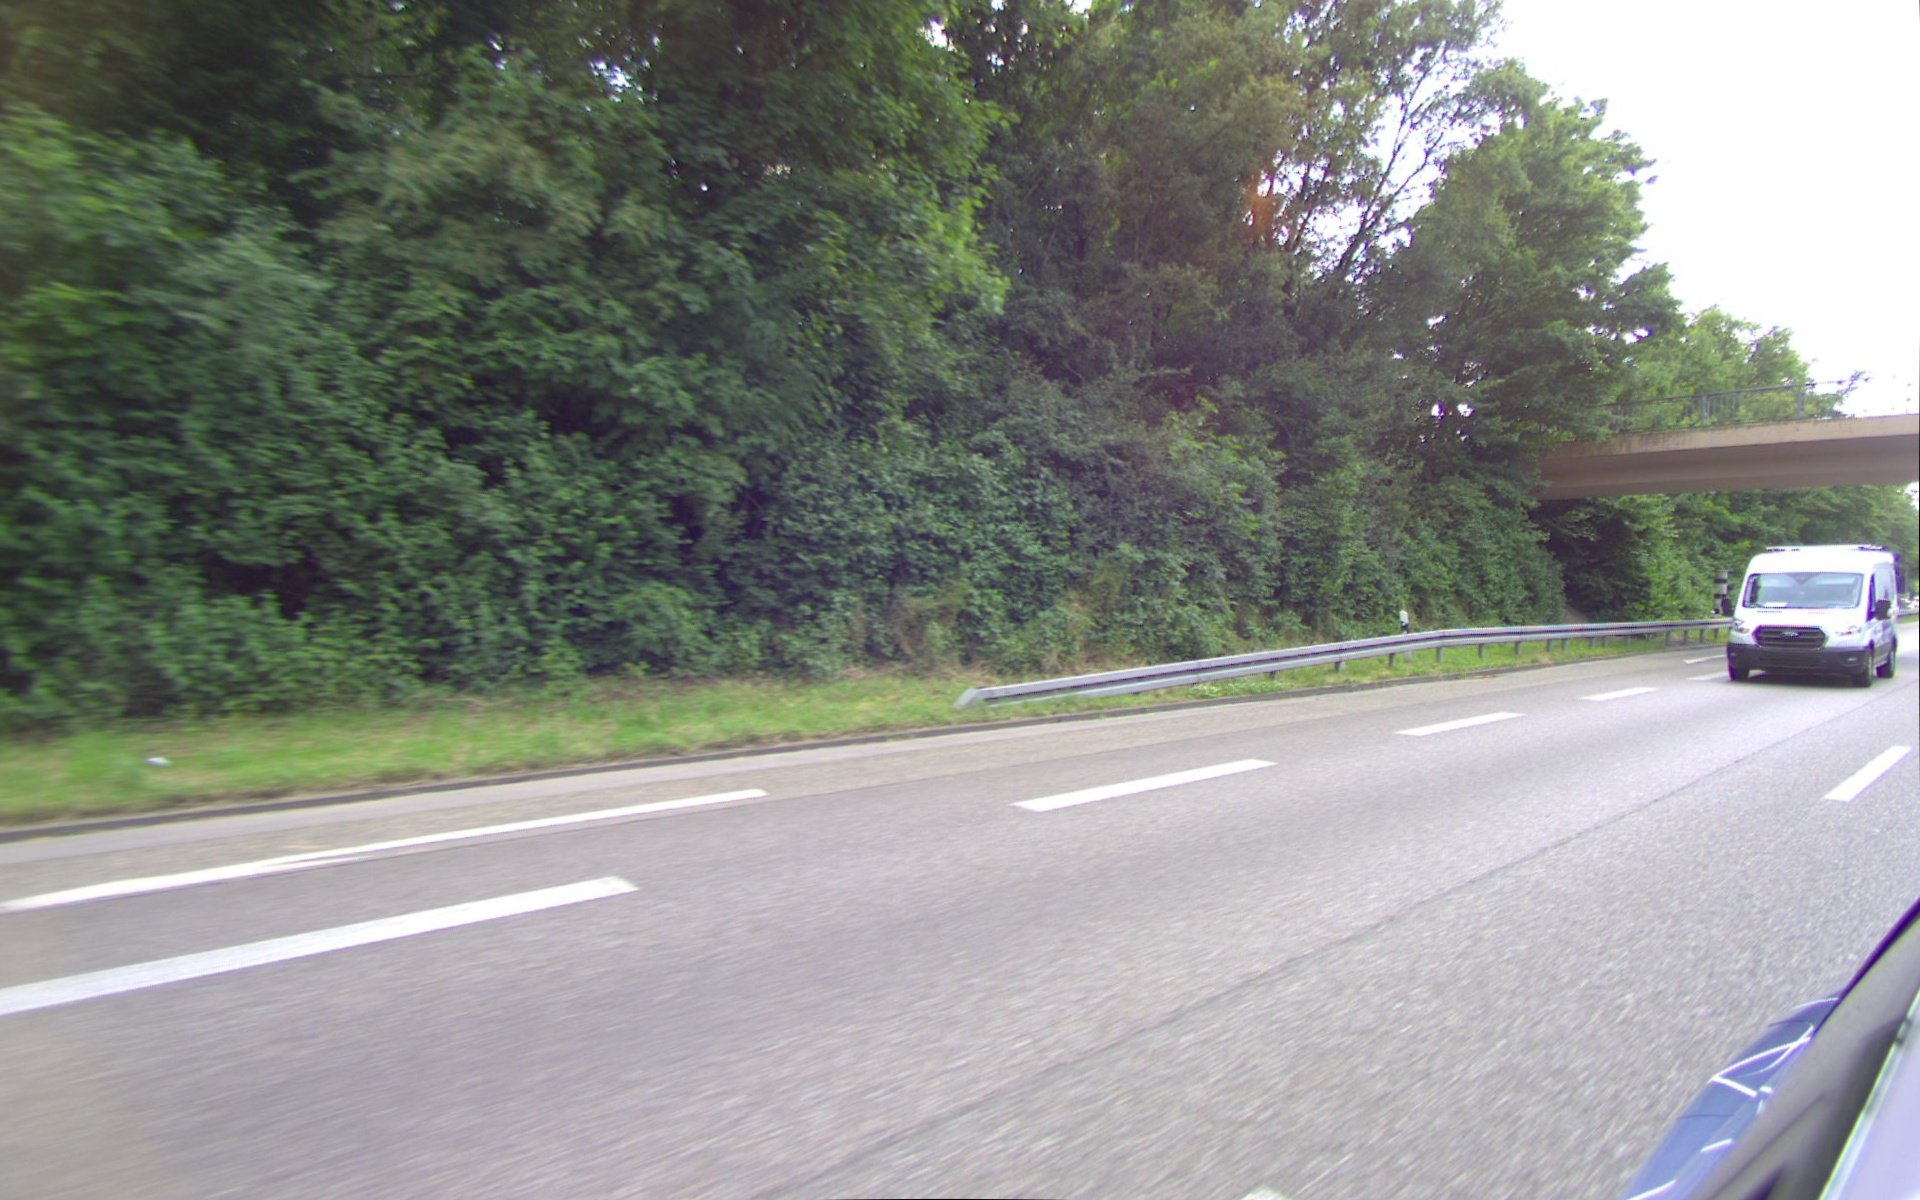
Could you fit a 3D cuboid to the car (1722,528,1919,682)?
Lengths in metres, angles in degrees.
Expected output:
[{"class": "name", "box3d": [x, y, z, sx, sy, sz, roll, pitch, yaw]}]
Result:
[{"class": "car", "box3d": [16.419, 0.076, 19.179, 5.186, 2.539, 2.102, 0, 0, -41]}]
